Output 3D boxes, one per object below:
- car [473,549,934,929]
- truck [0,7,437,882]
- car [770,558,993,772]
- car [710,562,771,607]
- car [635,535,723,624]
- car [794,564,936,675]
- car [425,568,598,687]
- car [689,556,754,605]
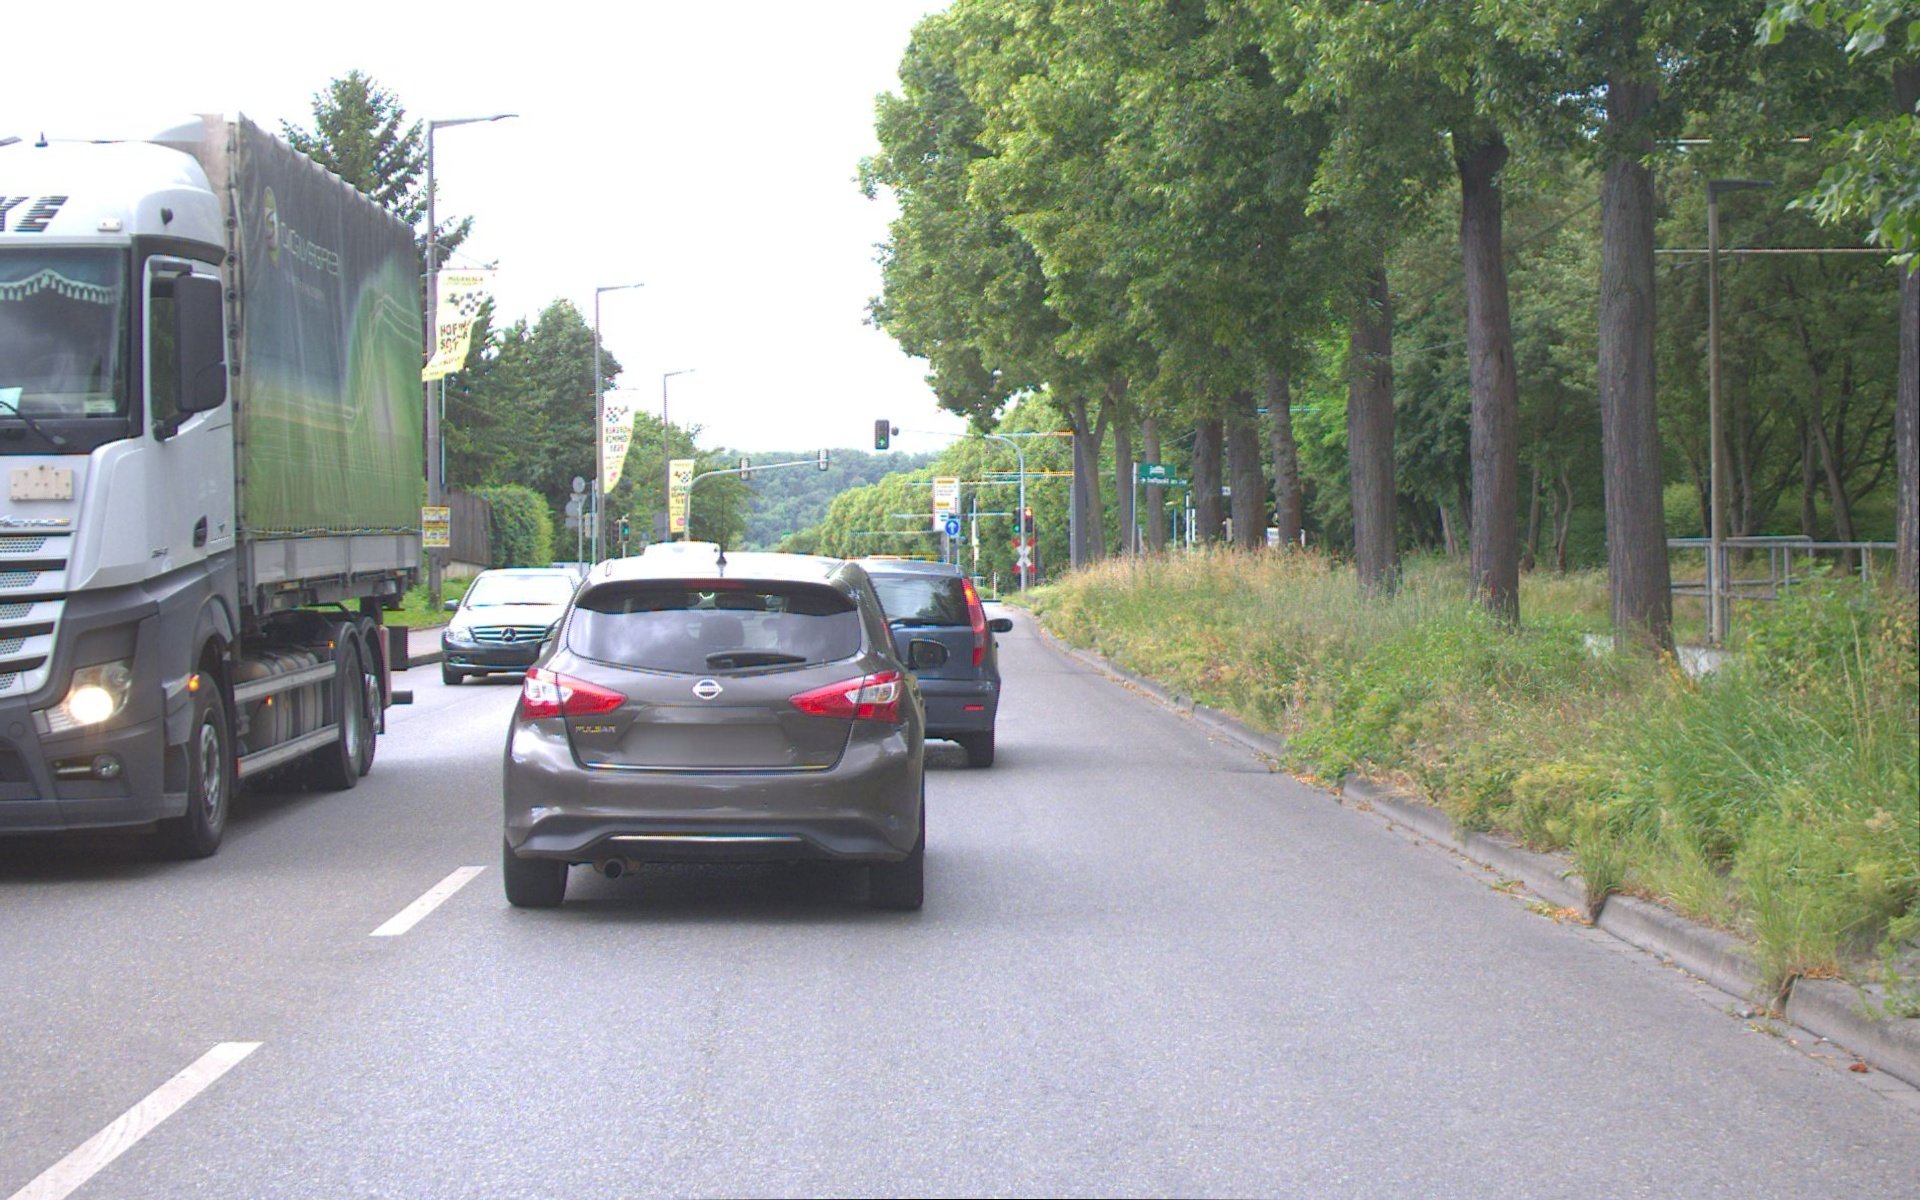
[{"bbox_3d":[-1.061,0.524,15.973,1.835,1.514,4.483,0,1,-1],"label":"car"},{"bbox_3d":[-5.199,-0.711,21.210,2.549,4.030,10.621,-2,0,-2],"label":"truck"},{"bbox_3d":[-0.580,0.428,25.770,1.538,1.473,3.764,0,1,-1],"label":"car"},{"bbox_3d":[-7.083,-0.529,111.232,1.886,1.378,4.491,-1,1,-3],"label":"car"},{"bbox_3d":[-6.655,-0.522,81.814,1.906,1.925,4.912,-1,2,-3],"label":"car"},{"bbox_3d":[-1.242,0.232,45.676,1.792,1.392,4.000,0,1,-1],"label":"car"},{"bbox_3d":[-5.624,0.310,43.498,1.732,1.370,4.240,-1,1,-2],"label":"car"},{"bbox_3d":[-6.880,-0.577,99.342,1.650,1.343,4.478,-1,1,-1],"label":"car"}]
